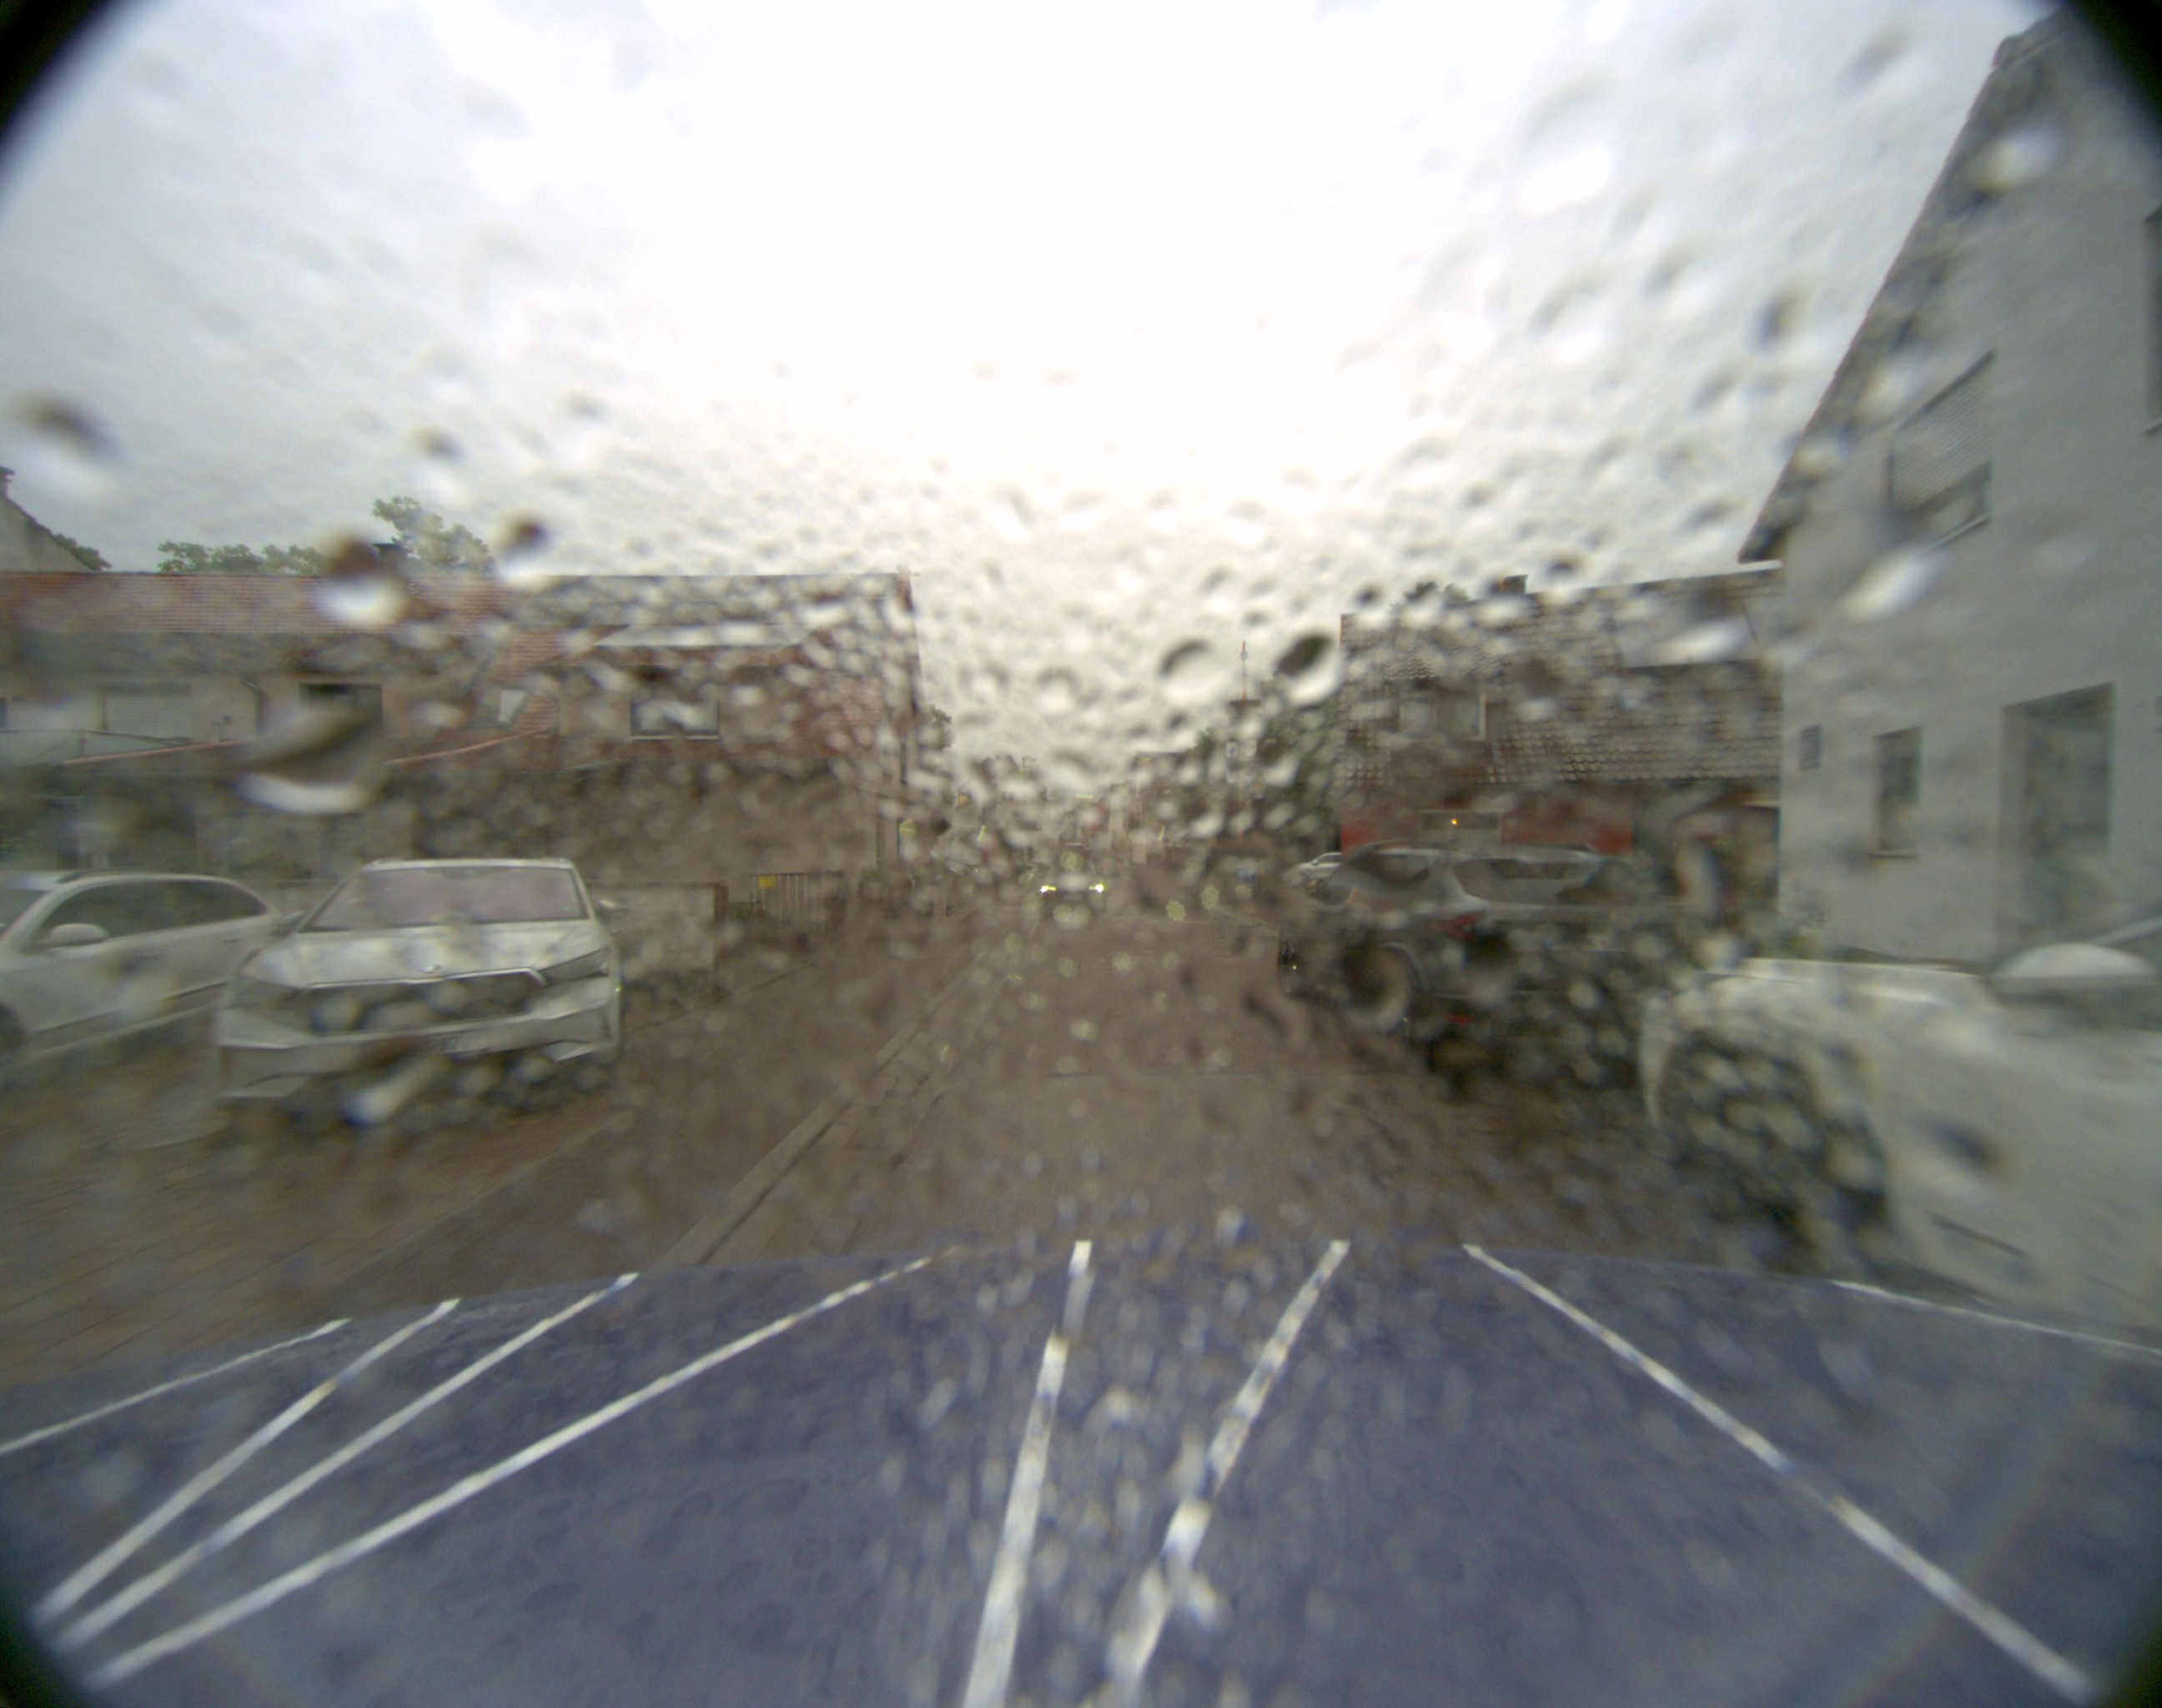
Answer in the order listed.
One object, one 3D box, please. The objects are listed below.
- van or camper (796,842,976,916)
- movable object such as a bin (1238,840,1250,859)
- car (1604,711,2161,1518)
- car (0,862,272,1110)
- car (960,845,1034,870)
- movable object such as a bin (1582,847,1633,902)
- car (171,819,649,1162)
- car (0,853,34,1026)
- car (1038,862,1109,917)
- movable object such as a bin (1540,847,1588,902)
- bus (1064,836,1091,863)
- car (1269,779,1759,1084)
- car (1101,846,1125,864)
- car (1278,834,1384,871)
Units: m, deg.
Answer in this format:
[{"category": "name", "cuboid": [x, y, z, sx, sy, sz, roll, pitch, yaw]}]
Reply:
[{"category": "van or camper", "cuboid": [-5.963, 0.725, 23.756, 5.083, 1.912, 1.875, -3, 1, -3]}, {"category": "movable object such as a bin", "cuboid": [10.041, -0.280, 46.858, 0.563, 1.140, 0.604, -1, 3, -2]}, {"category": "car", "cuboid": [3.053, 0.556, 0.964, 1.752, 1.627, 4.417, 1, 2, 1]}, {"category": "car", "cuboid": [-7.896, 0.834, 5.139, 1.879, 1.508, 4.283, -2, 0, -26]}, {"category": "car", "cuboid": [-5.283, 0.230, 47.803, 4.234, 1.472, 1.697, -1, 1, 15]}, {"category": "movable object such as a bin", "cuboid": [10.256, 0.388, 14.820, 0.646, 1.050, 0.621, -1, 0, 17]}, {"category": "car", "cuboid": [-4.671, 0.708, 6.030, 1.880, 1.580, 4.609, -3, -1, -32]}, {"category": "car", "cuboid": [-10.586, 0.803, 5.364, 1.812, 1.666, 4.213, 1, -1, -23]}, {"category": "car", "cuboid": [-0.149, 0.915, 21.173, 1.800, 1.341, 3.738, -1, 0, 1]}, {"category": "movable object such as a bin", "cuboid": [9.556, 0.391, 15.044, 0.646, 1.051, 0.621, 0, 2, 17]}, {"category": "bus", "cuboid": [-0.626, -0.830, 115.176, 2.894, 3.590, 11.968, -2, 2, -6]}, {"category": "car", "cuboid": [3.060, 0.442, 6.484, 1.817, 1.769, 4.016, -1, 0, -1]}, {"category": "car", "cuboid": [2.707, 0.066, 65.847, 1.848, 1.468, 4.313, 0, 0, -1]}, {"category": "car", "cuboid": [11.440, -0.066, 34.746, 4.450, 1.541, 1.885, -2, 1, 21]}]
